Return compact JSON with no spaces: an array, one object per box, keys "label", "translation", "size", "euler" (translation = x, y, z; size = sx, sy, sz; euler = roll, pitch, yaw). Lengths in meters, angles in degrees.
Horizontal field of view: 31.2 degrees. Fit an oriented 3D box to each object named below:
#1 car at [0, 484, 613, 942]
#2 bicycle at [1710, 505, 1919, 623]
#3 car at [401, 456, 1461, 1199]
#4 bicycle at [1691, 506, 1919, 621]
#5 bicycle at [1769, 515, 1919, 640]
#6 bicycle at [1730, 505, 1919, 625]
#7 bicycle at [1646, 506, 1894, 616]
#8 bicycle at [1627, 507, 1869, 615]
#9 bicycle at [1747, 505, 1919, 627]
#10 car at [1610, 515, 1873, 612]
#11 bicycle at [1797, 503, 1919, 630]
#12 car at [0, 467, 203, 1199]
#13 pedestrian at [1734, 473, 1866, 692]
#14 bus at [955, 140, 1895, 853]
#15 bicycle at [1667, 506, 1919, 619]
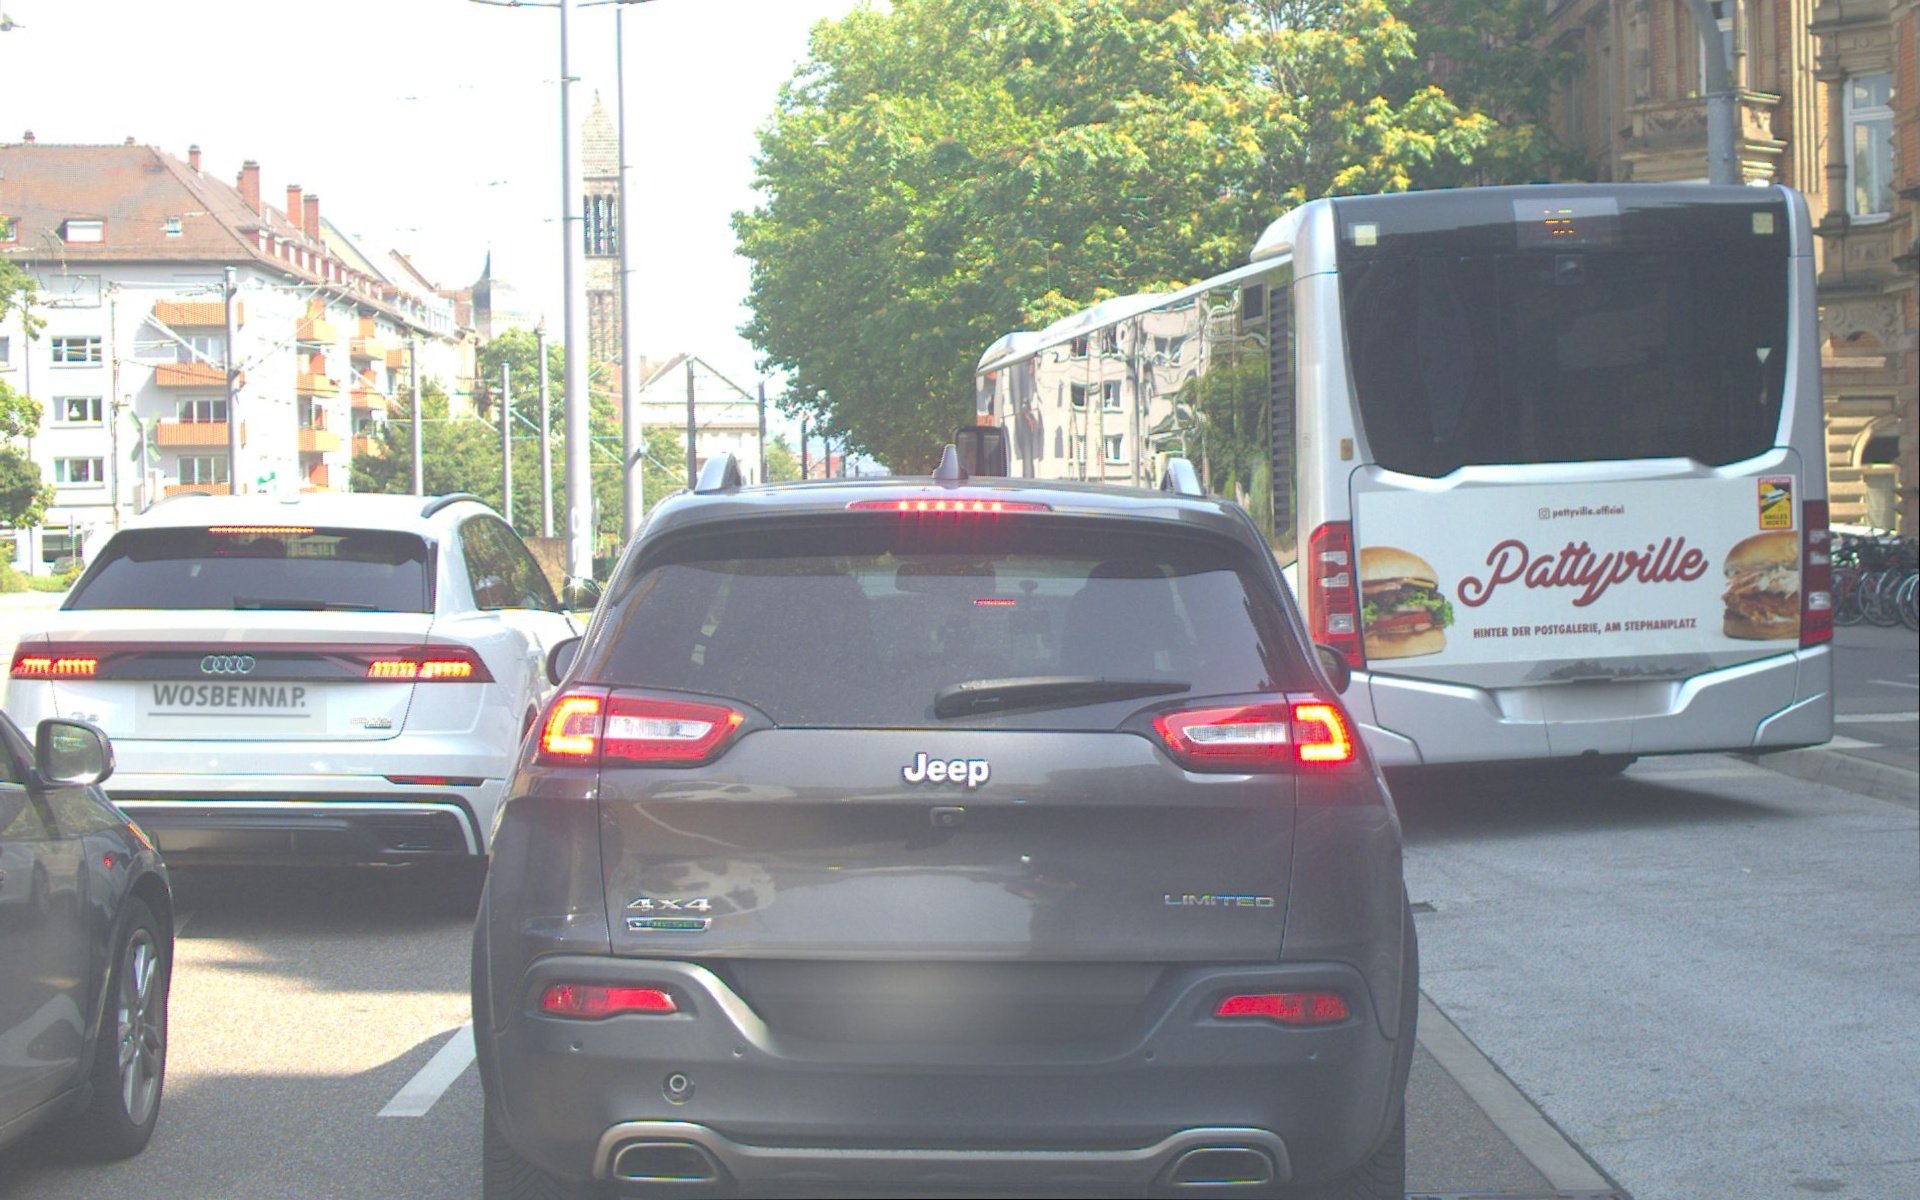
[{"label":"car","translation":[-2.616,0.357,14.531],"size":[1.902,1.646,4.309],"euler":[0,1,0]},{"label":"bicycle","translation":[10.726,-0.445,41.721],"size":[3.003,1.368,0.947],"euler":[-1,1,-1]},{"label":"car","translation":[-0.032,0.534,8.134],"size":[1.832,1.646,4.308],"euler":[0,1,1]},{"label":"bicycle","translation":[10.726,-0.466,42.815],"size":[3.003,1.368,0.947],"euler":[-1,1,-1]},{"label":"bicycle","translation":[10.775,-0.275,38.919],"size":[2.993,1.366,0.871],"euler":[-1,1,-1]},{"label":"bicycle","translation":[10.736,-0.425,40.777],"size":[2.993,1.366,0.871],"euler":[-1,1,-1]},{"label":"bicycle","translation":[10.623,-0.511,45.143],"size":[3.003,1.368,0.947],"euler":[-1,1,-1]},{"label":"bicycle","translation":[10.572,-0.529,46.184],"size":[3.003,1.368,0.947],"euler":[-1,1,-1]},{"label":"bicycle","translation":[10.723,-0.412,39.830],"size":[2.993,1.366,0.871],"euler":[-1,1,-1]},{"label":"car","translation":[13.050,-0.615,57.490],"size":[3.931,1.515,1.683],"euler":[-1,1,-7]},{"label":"bicycle","translation":[10.875,-0.391,38.011],"size":[2.993,1.366,0.871],"euler":[-1,1,-1]},{"label":"car","translation":[-2.815,0.535,6.722],"size":[1.747,1.609,4.309],"euler":[0,1,0]},{"label":"pedestrian","translation":[6.881,-0.148,28.197],"size":[0.898,1.735,0.768],"euler":[-2,1,6]},{"label":"bus","translation":[2.137,-0.541,21.590],"size":[2.743,3.096,11.958],"euler":[-3,1,-7]},{"label":"bicycle","translation":[10.629,-0.483,43.825],"size":[3.003,1.368,0.947],"euler":[-1,1,-1]}]
